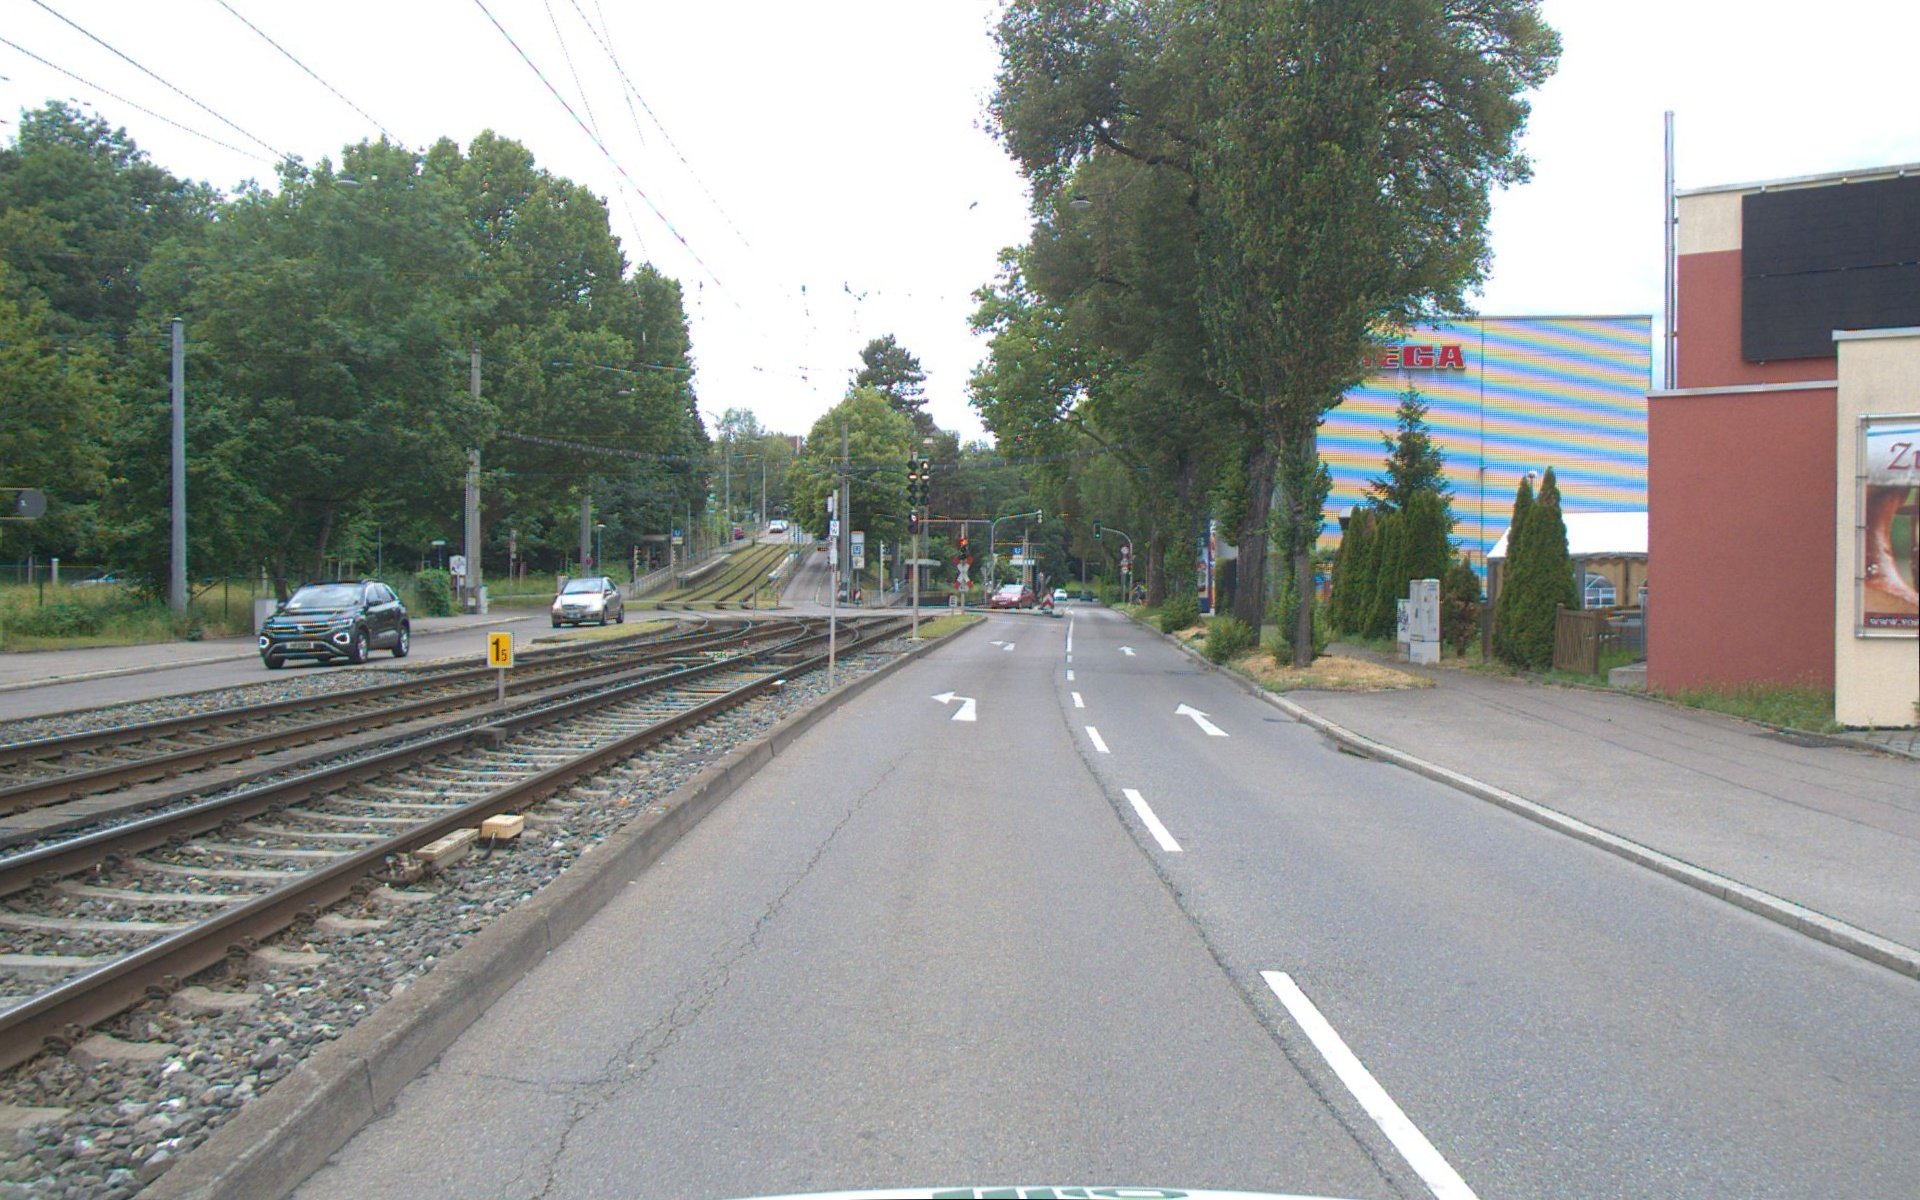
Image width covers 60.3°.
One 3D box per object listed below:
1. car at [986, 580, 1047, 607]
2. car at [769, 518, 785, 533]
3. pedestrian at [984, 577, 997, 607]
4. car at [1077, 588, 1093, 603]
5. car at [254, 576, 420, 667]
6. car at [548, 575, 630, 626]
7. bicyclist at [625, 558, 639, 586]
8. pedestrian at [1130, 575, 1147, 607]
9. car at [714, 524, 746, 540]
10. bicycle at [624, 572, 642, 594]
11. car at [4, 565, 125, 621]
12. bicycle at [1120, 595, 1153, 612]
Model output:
[{"bbox_3d":[3.409,-0.379,98.860,1.954,1.542,4.497,2,1,25],"label":"car"},{"bbox_3d":[-28.188,-11.460,254.851,1.953,2.049,4.000,0,1,0],"label":"car"},{"bbox_3d":[1.910,-0.494,103.892,0.753,1.885,0.910,0,0,1],"label":"pedestrian"},{"bbox_3d":[16.693,-0.596,220.977,1.953,1.847,4.000,0,1,0],"label":"car"},{"bbox_3d":[-11.815,0.353,31.654,1.653,1.558,4.254,-3,1,-2],"label":"car"},{"bbox_3d":[-12.364,-0.016,55.321,1.853,1.558,4.254,-3,1,-2],"label":"car"},{"bbox_3d":[-22.382,-1.933,112.935,0.805,1.881,1.051,1,3,-4],"label":"bicyclist"},{"bbox_3d":[11.531,-0.569,107.005,0.913,2.049,0.667,0,0,29],"label":"pedestrian"},{"bbox_3d":[-30.496,-9.076,219.434,3.902,2.049,2.002,0,0,8],"label":"car"},{"bbox_3d":[-22.387,-1.198,113.193,0.808,1.366,2.995,0,3,-4],"label":"bicycle"},{"bbox_3d":[-29.833,-0.243,55.243,1.953,1.780,3.999,0,1,-2],"label":"car"},{"bbox_3d":[11.436,0.221,107.054,2.036,1.024,0.667,1,0,31],"label":"bicycle"}]
